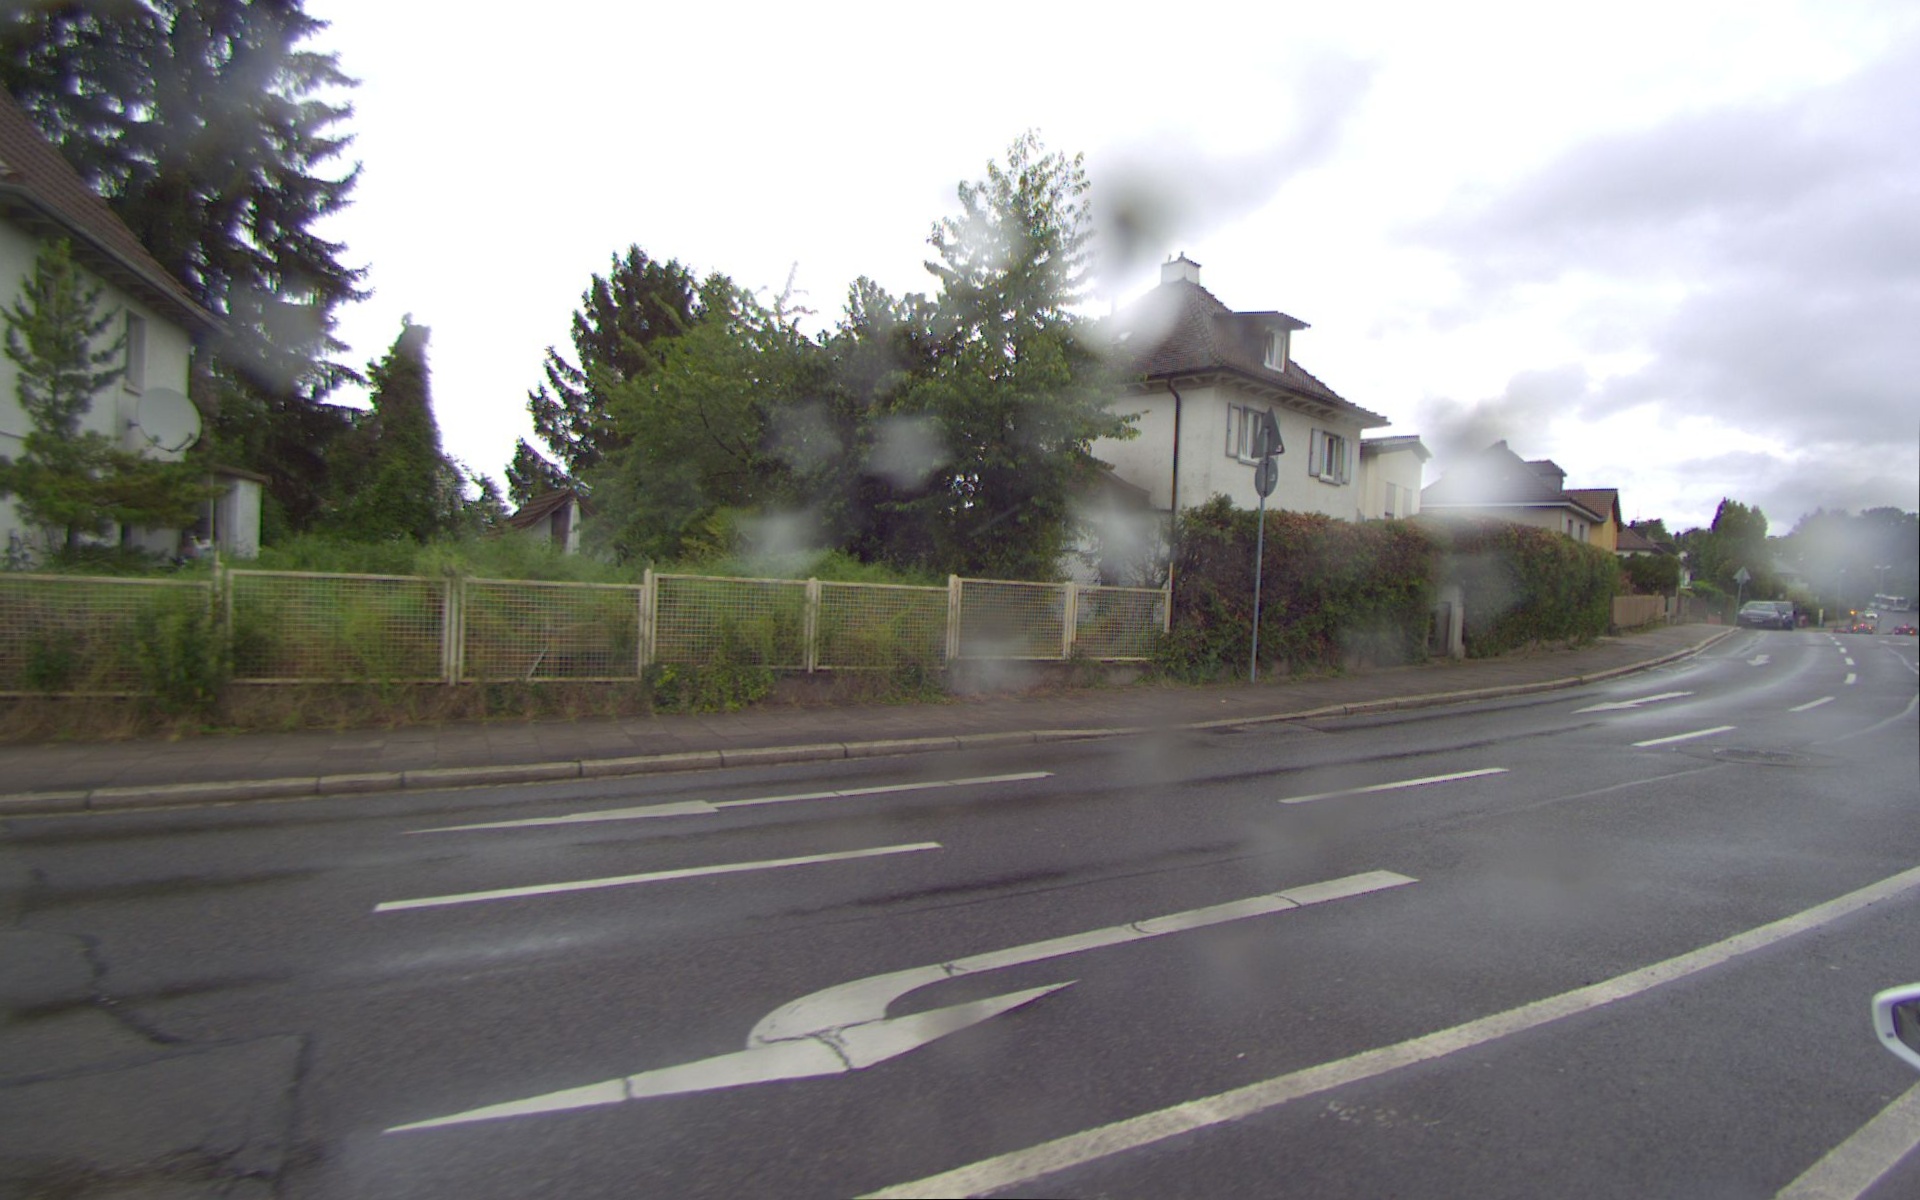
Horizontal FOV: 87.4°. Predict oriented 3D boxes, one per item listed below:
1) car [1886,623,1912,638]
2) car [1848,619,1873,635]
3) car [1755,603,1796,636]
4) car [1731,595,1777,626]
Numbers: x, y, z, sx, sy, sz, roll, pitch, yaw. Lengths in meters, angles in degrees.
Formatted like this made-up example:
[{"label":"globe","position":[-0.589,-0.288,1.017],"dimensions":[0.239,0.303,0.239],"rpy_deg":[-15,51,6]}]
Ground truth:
[{"label":"car","position":[117.537,3.782,125.774],"dimensions":[1.968,1.763,3.984],"rpy_deg":[3,0,38]},{"label":"car","position":[106.871,3.240,119.154],"dimensions":[1.973,1.763,3.976],"rpy_deg":[3,0,44]},{"label":"car","position":[54.233,1.298,66.871],"dimensions":[1.889,2.029,5.067],"rpy_deg":[3,0,38]},{"label":"car","position":[43.050,0.580,54.439],"dimensions":[1.730,1.458,4.109],"rpy_deg":[3,0,41]}]
